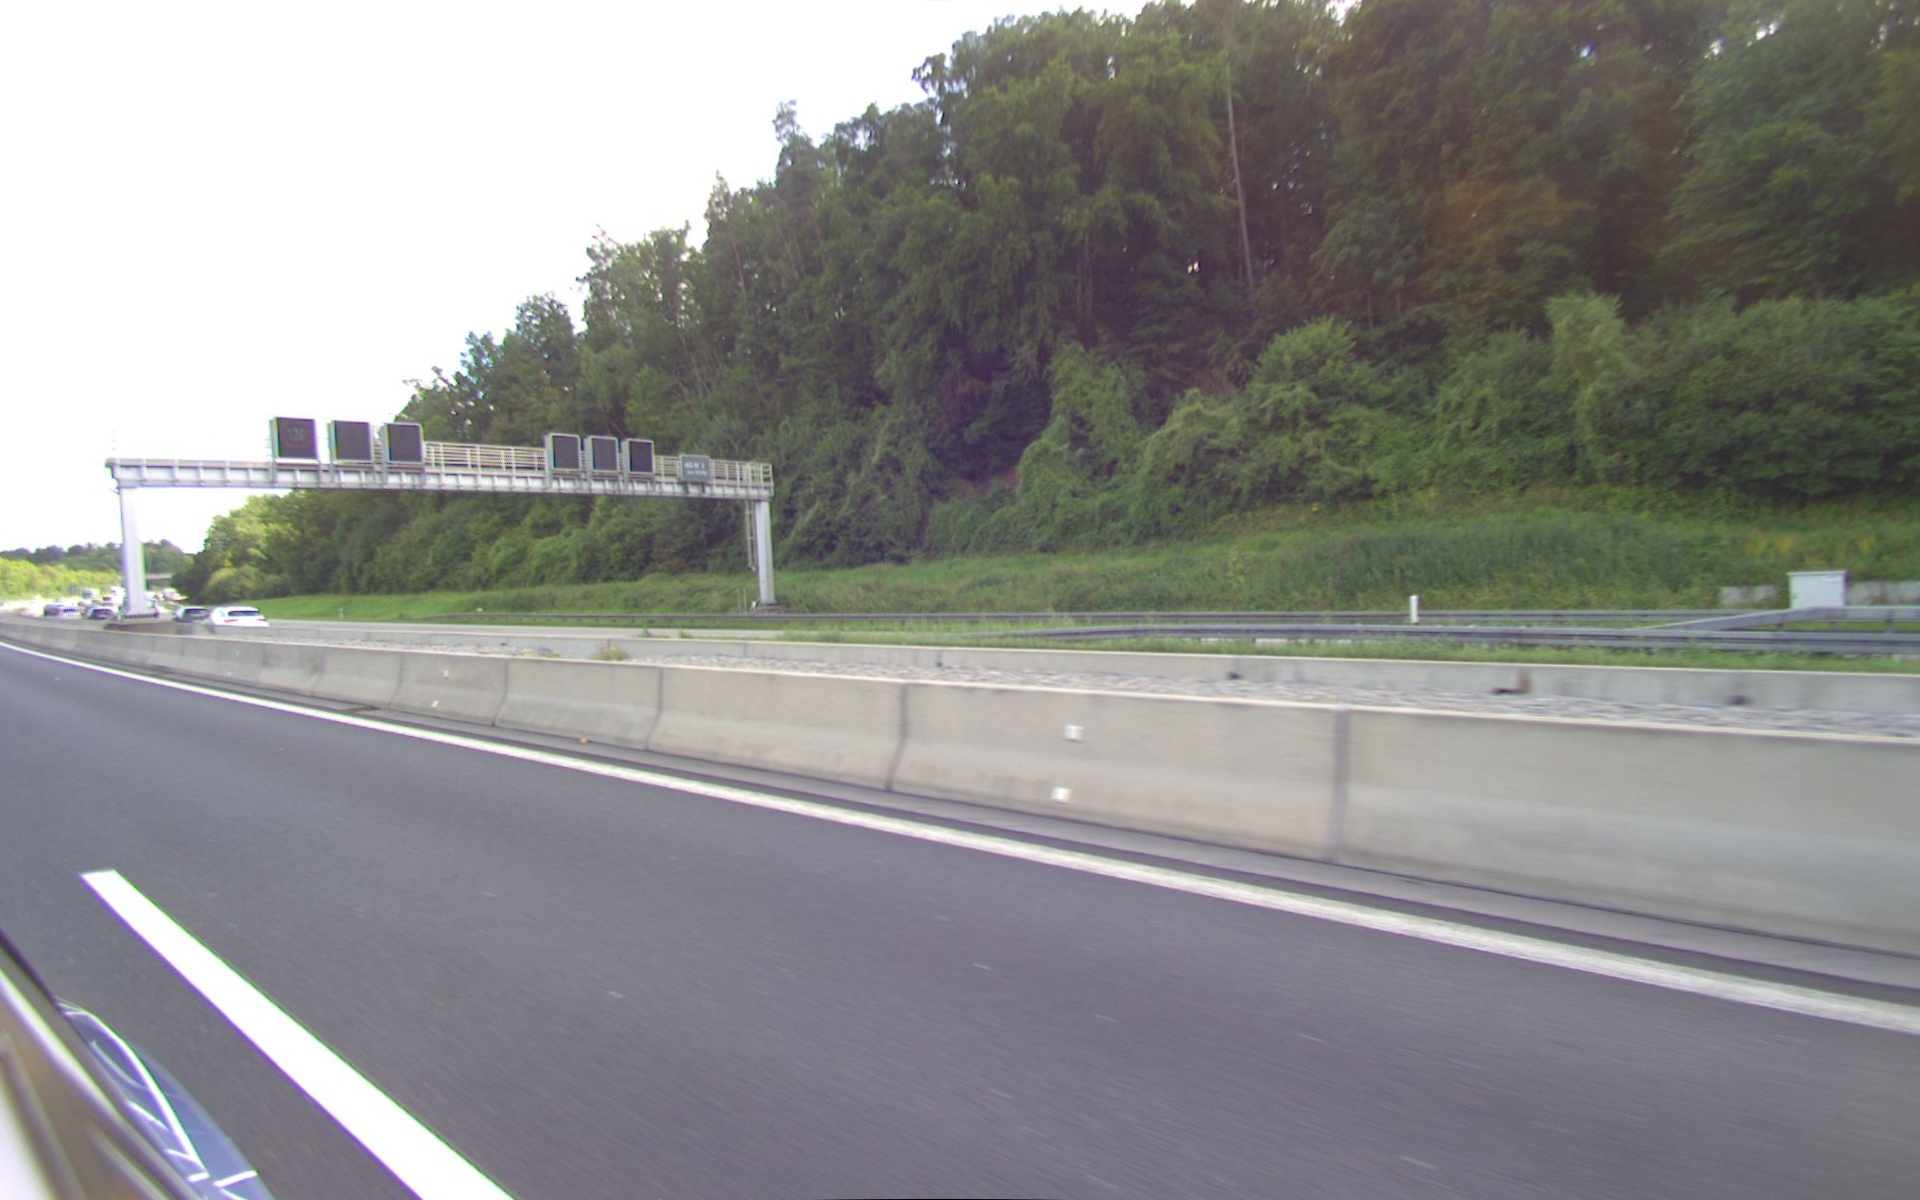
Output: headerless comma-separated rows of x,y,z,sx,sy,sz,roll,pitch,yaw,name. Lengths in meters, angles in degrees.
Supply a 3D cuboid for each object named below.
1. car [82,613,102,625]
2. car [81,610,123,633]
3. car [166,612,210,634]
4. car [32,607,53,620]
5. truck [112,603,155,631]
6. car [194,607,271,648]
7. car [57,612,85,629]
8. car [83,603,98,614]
-123.708,2.743,144.212,1.970,1.551,4.743,-2,0,-44,car
-64.085,1.572,75.564,4.001,1.653,1.971,-1,0,44,car
-52.655,1.531,68.994,4.601,1.406,1.647,-1,0,43,car
-117.402,1.689,129.452,4.502,1.551,1.680,-1,0,44,car
-70.300,1.439,86.036,5.572,2.242,2.159,-1,0,44,truck
-31.388,1.159,43.608,4.932,1.593,1.745,-1,0,43,car
-79.808,1.800,90.855,3.890,1.461,1.547,-1,0,44,car
-167.846,1.590,195.361,1.970,2.029,4.783,-1,1,-42,car
